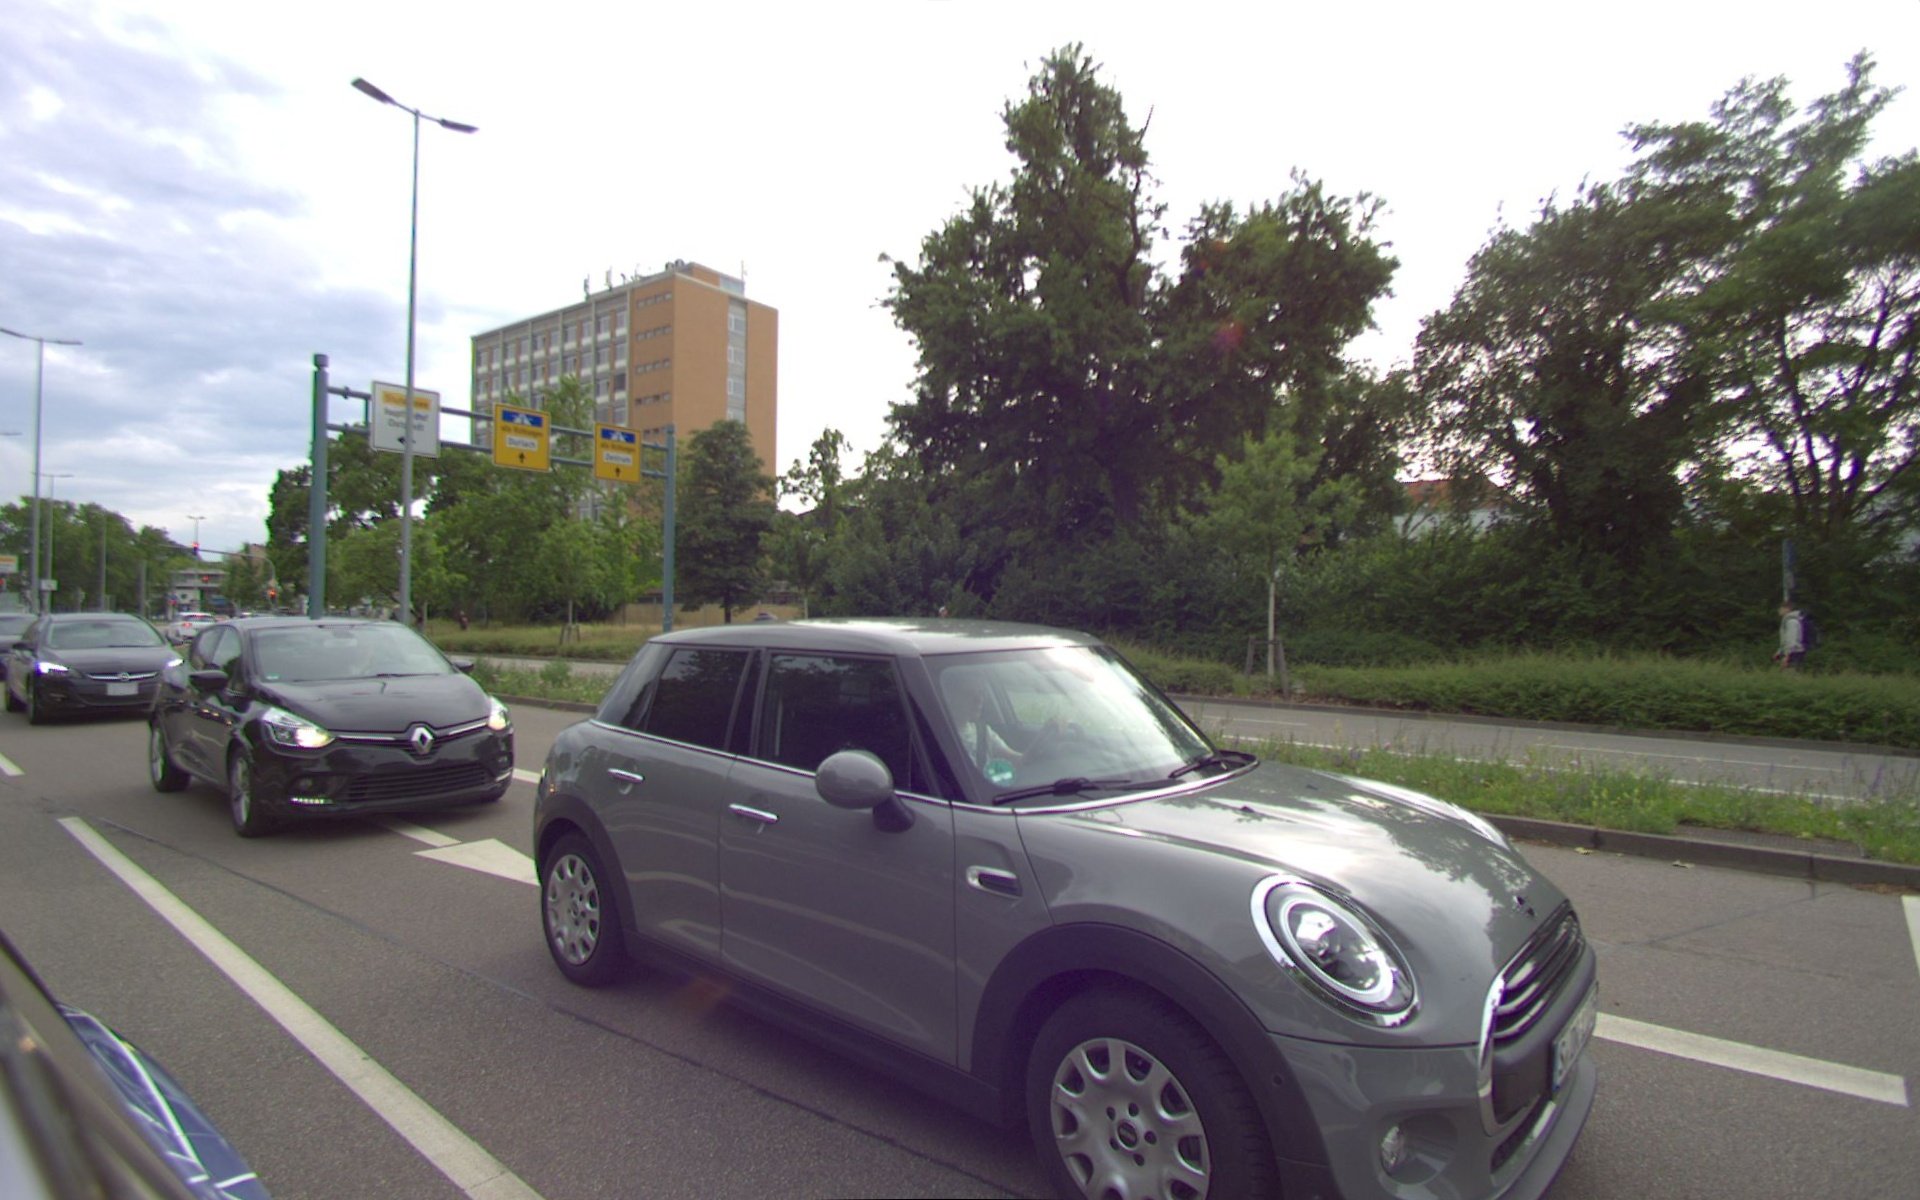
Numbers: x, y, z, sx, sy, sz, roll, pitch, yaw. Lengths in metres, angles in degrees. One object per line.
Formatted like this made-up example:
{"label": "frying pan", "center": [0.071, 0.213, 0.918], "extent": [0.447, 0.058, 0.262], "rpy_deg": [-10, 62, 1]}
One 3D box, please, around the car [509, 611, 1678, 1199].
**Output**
{"label": "car", "center": [0.106, 0.721, 3.466], "extent": [3.704, 1.328, 1.604], "rpy_deg": [-1, -2, 41]}

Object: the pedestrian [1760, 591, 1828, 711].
{"label": "pedestrian", "center": [14.623, 0.882, 17.740], "extent": [0.896, 2.029, 0.823], "rpy_deg": [2, -2, -45]}

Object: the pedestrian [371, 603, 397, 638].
{"label": "pedestrian", "center": [-33.965, 1.189, 59.723], "extent": [1.218, 2.029, 0.872], "rpy_deg": [-1, 0, 33]}

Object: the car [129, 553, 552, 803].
{"label": "car", "center": [-5.002, 0.496, 7.946], "extent": [3.998, 1.470, 1.709], "rpy_deg": [-1, -2, 41]}

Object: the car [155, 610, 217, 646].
{"label": "car", "center": [-41.190, 1.444, 53.826], "extent": [3.998, 1.786, 1.869], "rpy_deg": [0, 0, 41]}

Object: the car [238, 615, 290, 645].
{"label": "car", "center": [-38.382, 1.602, 55.745], "extent": [1.828, 1.564, 4.005], "rpy_deg": [1, -1, -42]}

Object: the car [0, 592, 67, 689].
{"label": "car", "center": [-21.477, 0.857, 22.448], "extent": [3.998, 2.029, 1.973], "rpy_deg": [-1, -2, 41]}

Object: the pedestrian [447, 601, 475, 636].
{"label": "pedestrian", "center": [-28.175, 1.012, 57.147], "extent": [1.163, 1.933, 1.122], "rpy_deg": [-1, 0, 44]}

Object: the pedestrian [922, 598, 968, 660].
{"label": "pedestrian", "center": [-0.405, 0.771, 27.584], "extent": [0.812, 1.637, 0.978], "rpy_deg": [-1, 0, 38]}

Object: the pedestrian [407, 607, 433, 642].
{"label": "pedestrian", "center": [-32.055, 1.447, 60.106], "extent": [1.218, 2.029, 0.872], "rpy_deg": [-1, 0, 33]}

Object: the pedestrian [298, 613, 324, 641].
{"label": "pedestrian", "center": [-48.413, 1.979, 75.481], "extent": [1.519, 2.029, 1.208], "rpy_deg": [-1, 0, 41]}

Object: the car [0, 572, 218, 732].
{"label": "car", "center": [-12.699, 0.702, 14.931], "extent": [3.998, 2.029, 1.973], "rpy_deg": [-1, -2, 41]}
